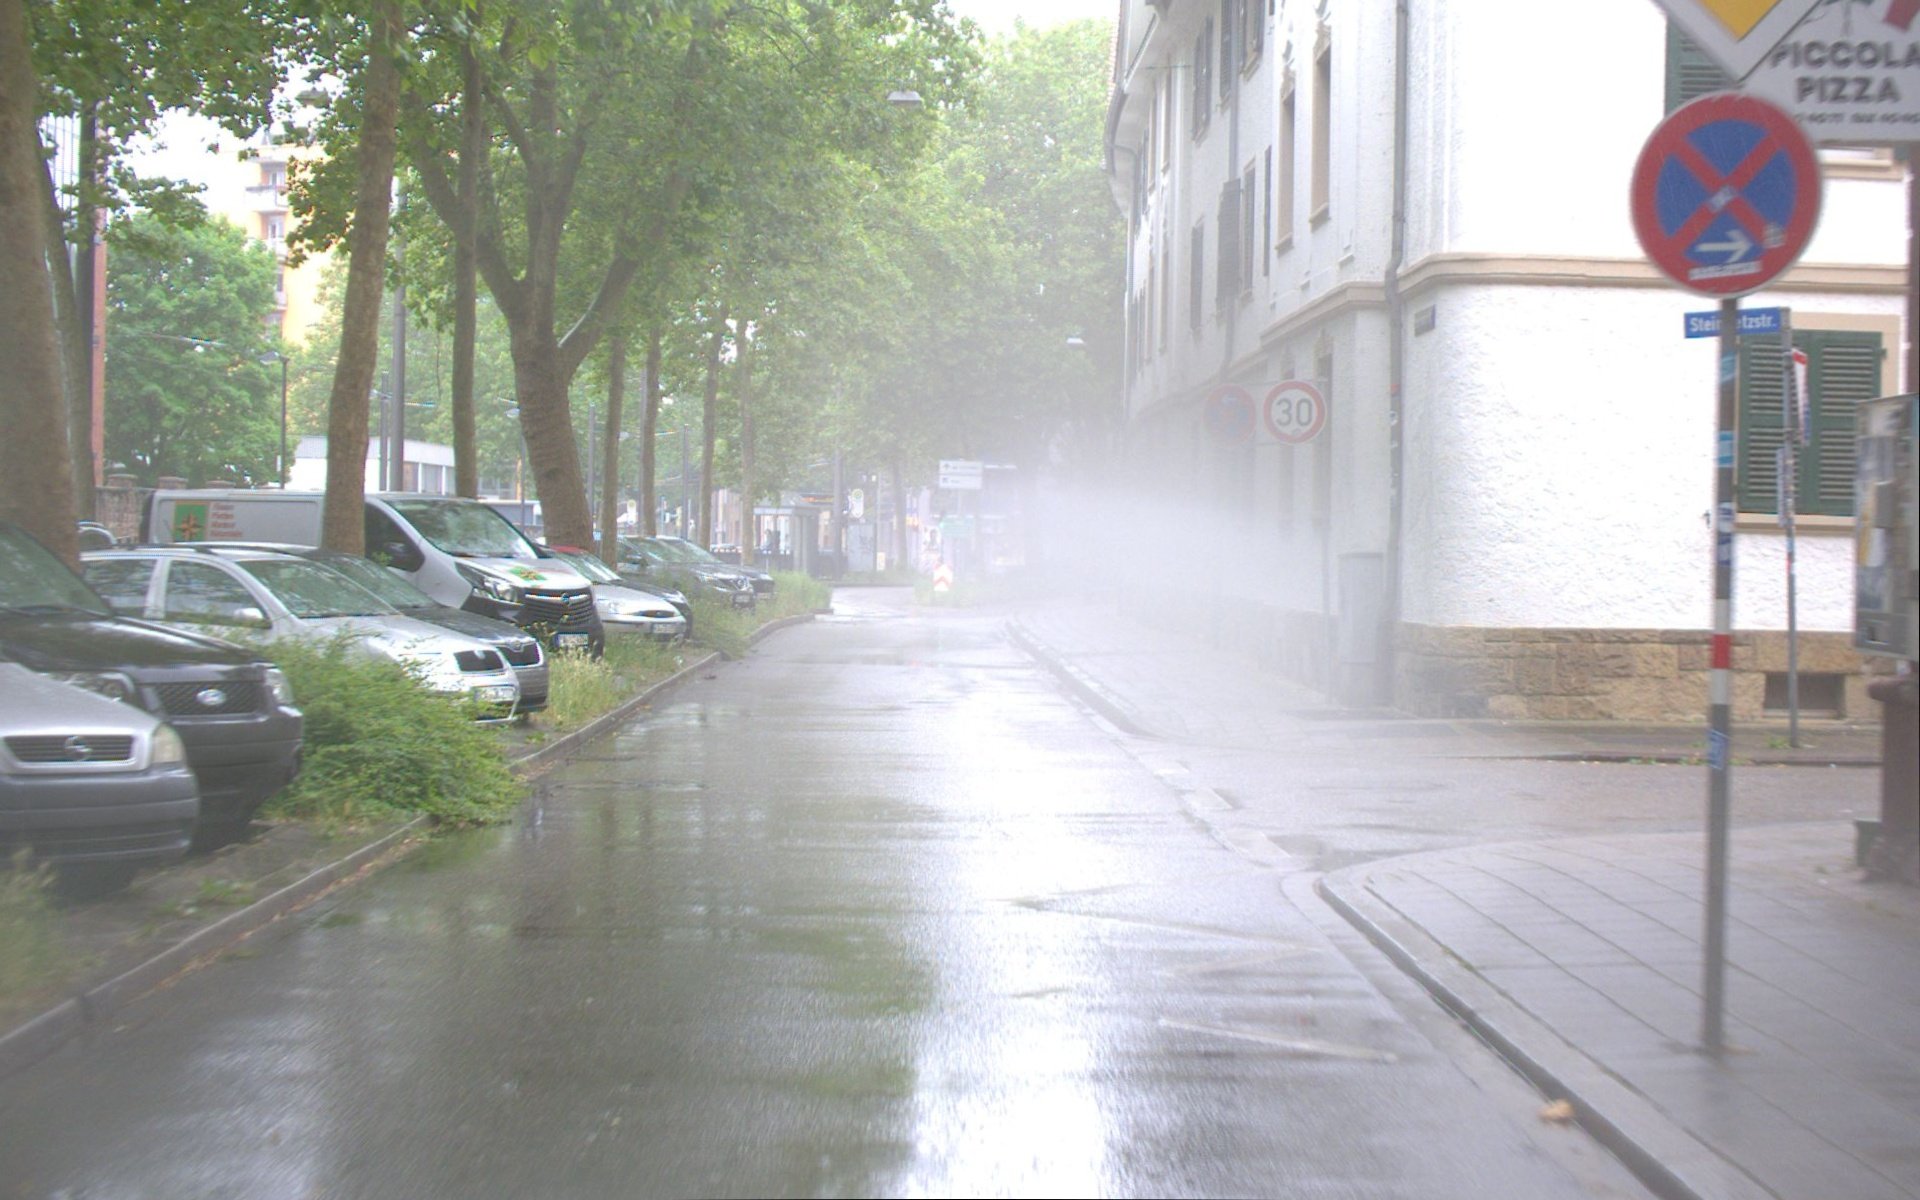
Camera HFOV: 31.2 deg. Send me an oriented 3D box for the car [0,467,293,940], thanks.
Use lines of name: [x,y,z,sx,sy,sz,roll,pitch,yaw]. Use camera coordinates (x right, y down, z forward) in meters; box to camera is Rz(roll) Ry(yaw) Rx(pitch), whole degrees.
car: [-4.943,0.355,13.544,4.411,1.640,1.869,0,0,30]

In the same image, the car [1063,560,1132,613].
car: [4.568,-0.454,114.687,1.993,1.634,4.000,3,0,-1]

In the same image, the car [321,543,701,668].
car: [-5.620,0.046,42.875,4.553,1.477,1.772,1,1,30]

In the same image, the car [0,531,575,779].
car: [-4.946,0.337,24.271,4.061,1.494,1.745,3,2,23]

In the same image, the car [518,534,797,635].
car: [-5.294,-0.284,60.076,4.464,1.591,1.920,2,1,26]

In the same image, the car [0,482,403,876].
car: [-5.033,0.275,16.336,4.410,1.654,1.927,2,1,27]

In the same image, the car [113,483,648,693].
car: [-5.843,-0.146,34.475,5.124,1.971,2.099,1,1,30]

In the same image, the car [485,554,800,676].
car: [-4.168,0.176,45.001,3.812,1.516,1.719,1,1,31]

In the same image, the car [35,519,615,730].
car: [-5.070,0.154,27.376,4.308,1.432,1.745,3,2,26]
